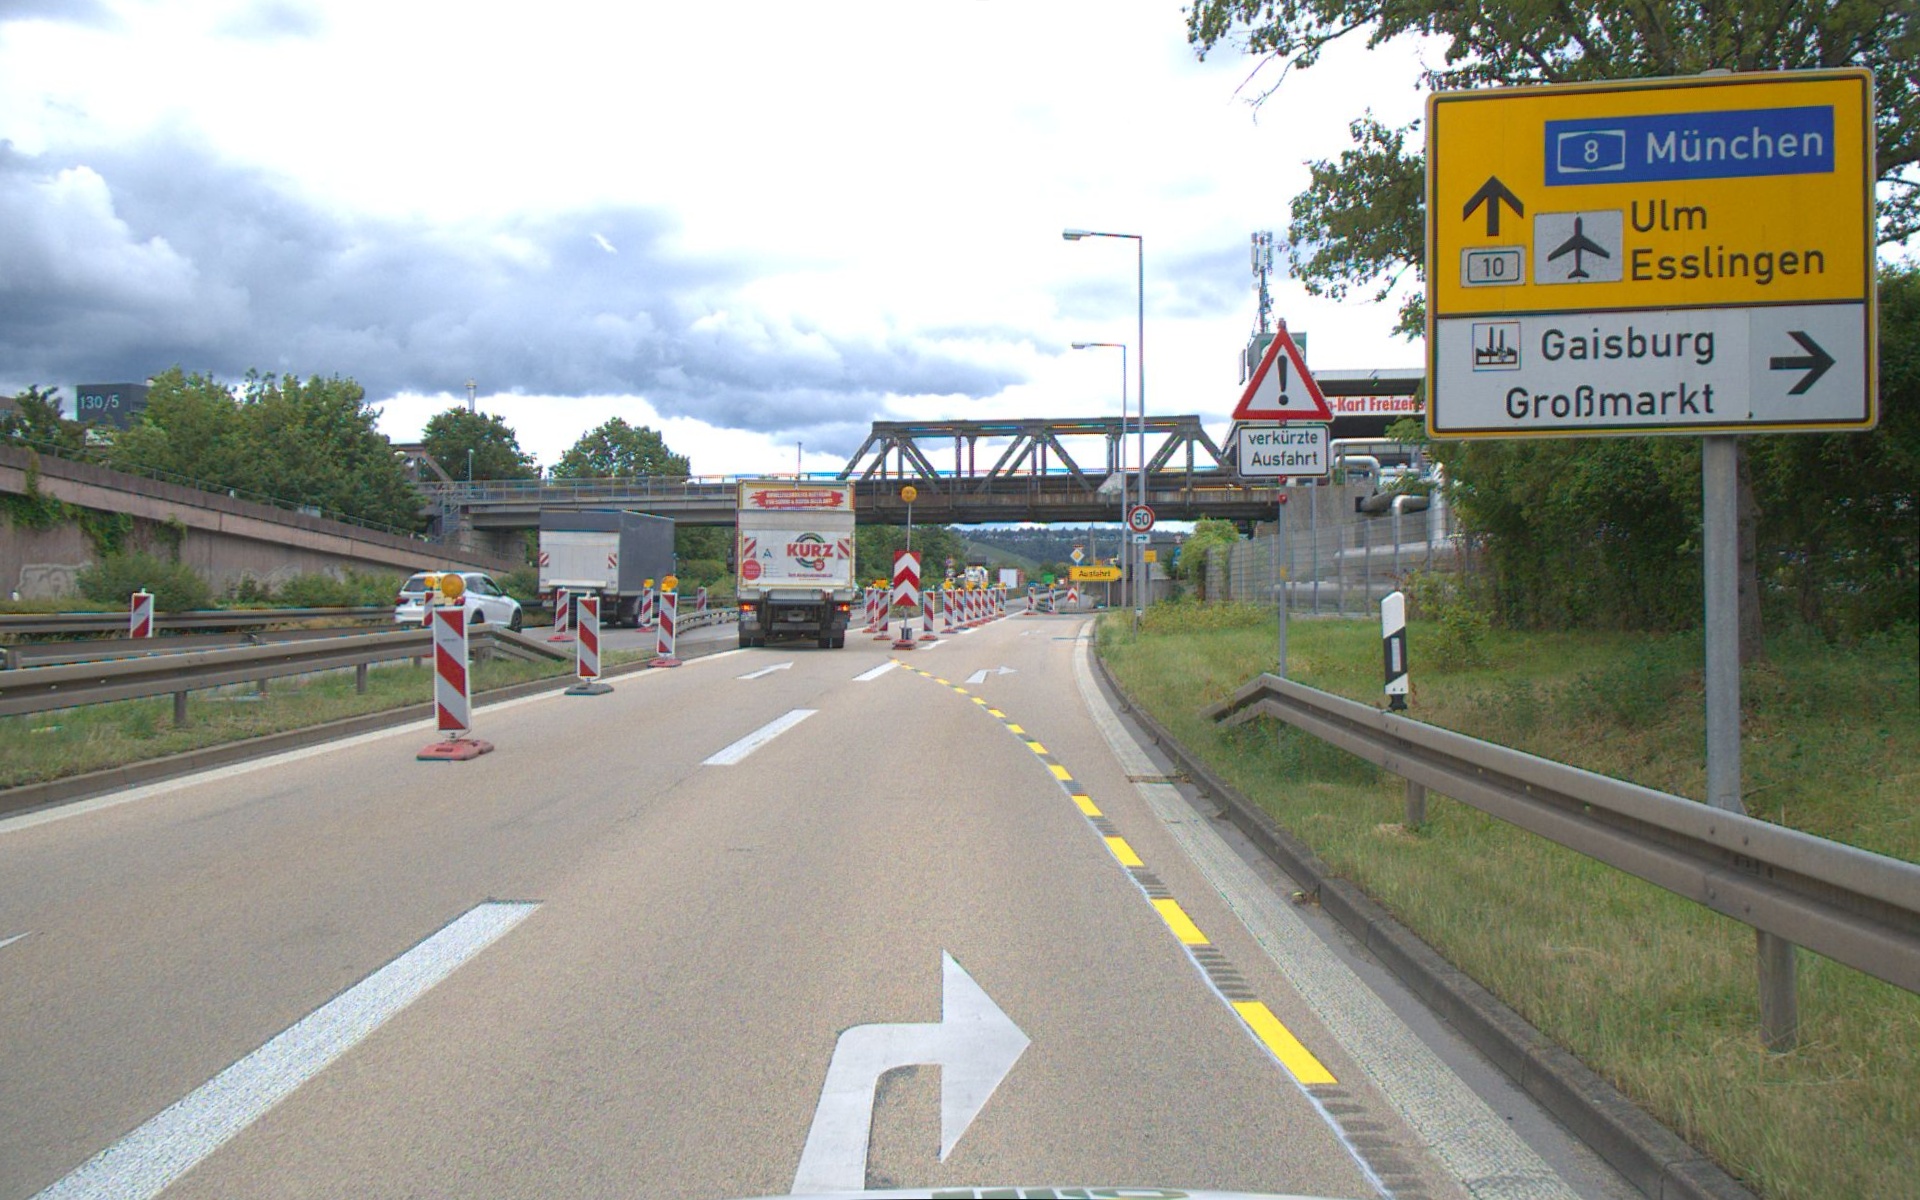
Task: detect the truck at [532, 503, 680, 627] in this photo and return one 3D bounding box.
[{"bbox_3d":[-11.250,-1.014,53.357,2.987,3.720,7.397,0,0,2],"label":"truck"}]

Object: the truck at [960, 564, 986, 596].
[{"bbox_3d":[1.712,-2.458,210.765,3.218,3.920,7.665,0,0,1],"label":"truck"}]

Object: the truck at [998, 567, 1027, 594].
[{"bbox_3d":[7.270,-2.706,230.195,3.828,3.611,8.139,0,0,0],"label":"truck"}]

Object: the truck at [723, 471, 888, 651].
[{"bbox_3d":[-3.382,-0.759,38.372,2.988,3.737,7.927,0,-1,1],"label":"truck"}]

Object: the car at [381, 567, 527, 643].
[{"bbox_3d":[-12.099,0.132,39.849,1.951,1.742,4.103,0,0,5],"label":"car"}]
